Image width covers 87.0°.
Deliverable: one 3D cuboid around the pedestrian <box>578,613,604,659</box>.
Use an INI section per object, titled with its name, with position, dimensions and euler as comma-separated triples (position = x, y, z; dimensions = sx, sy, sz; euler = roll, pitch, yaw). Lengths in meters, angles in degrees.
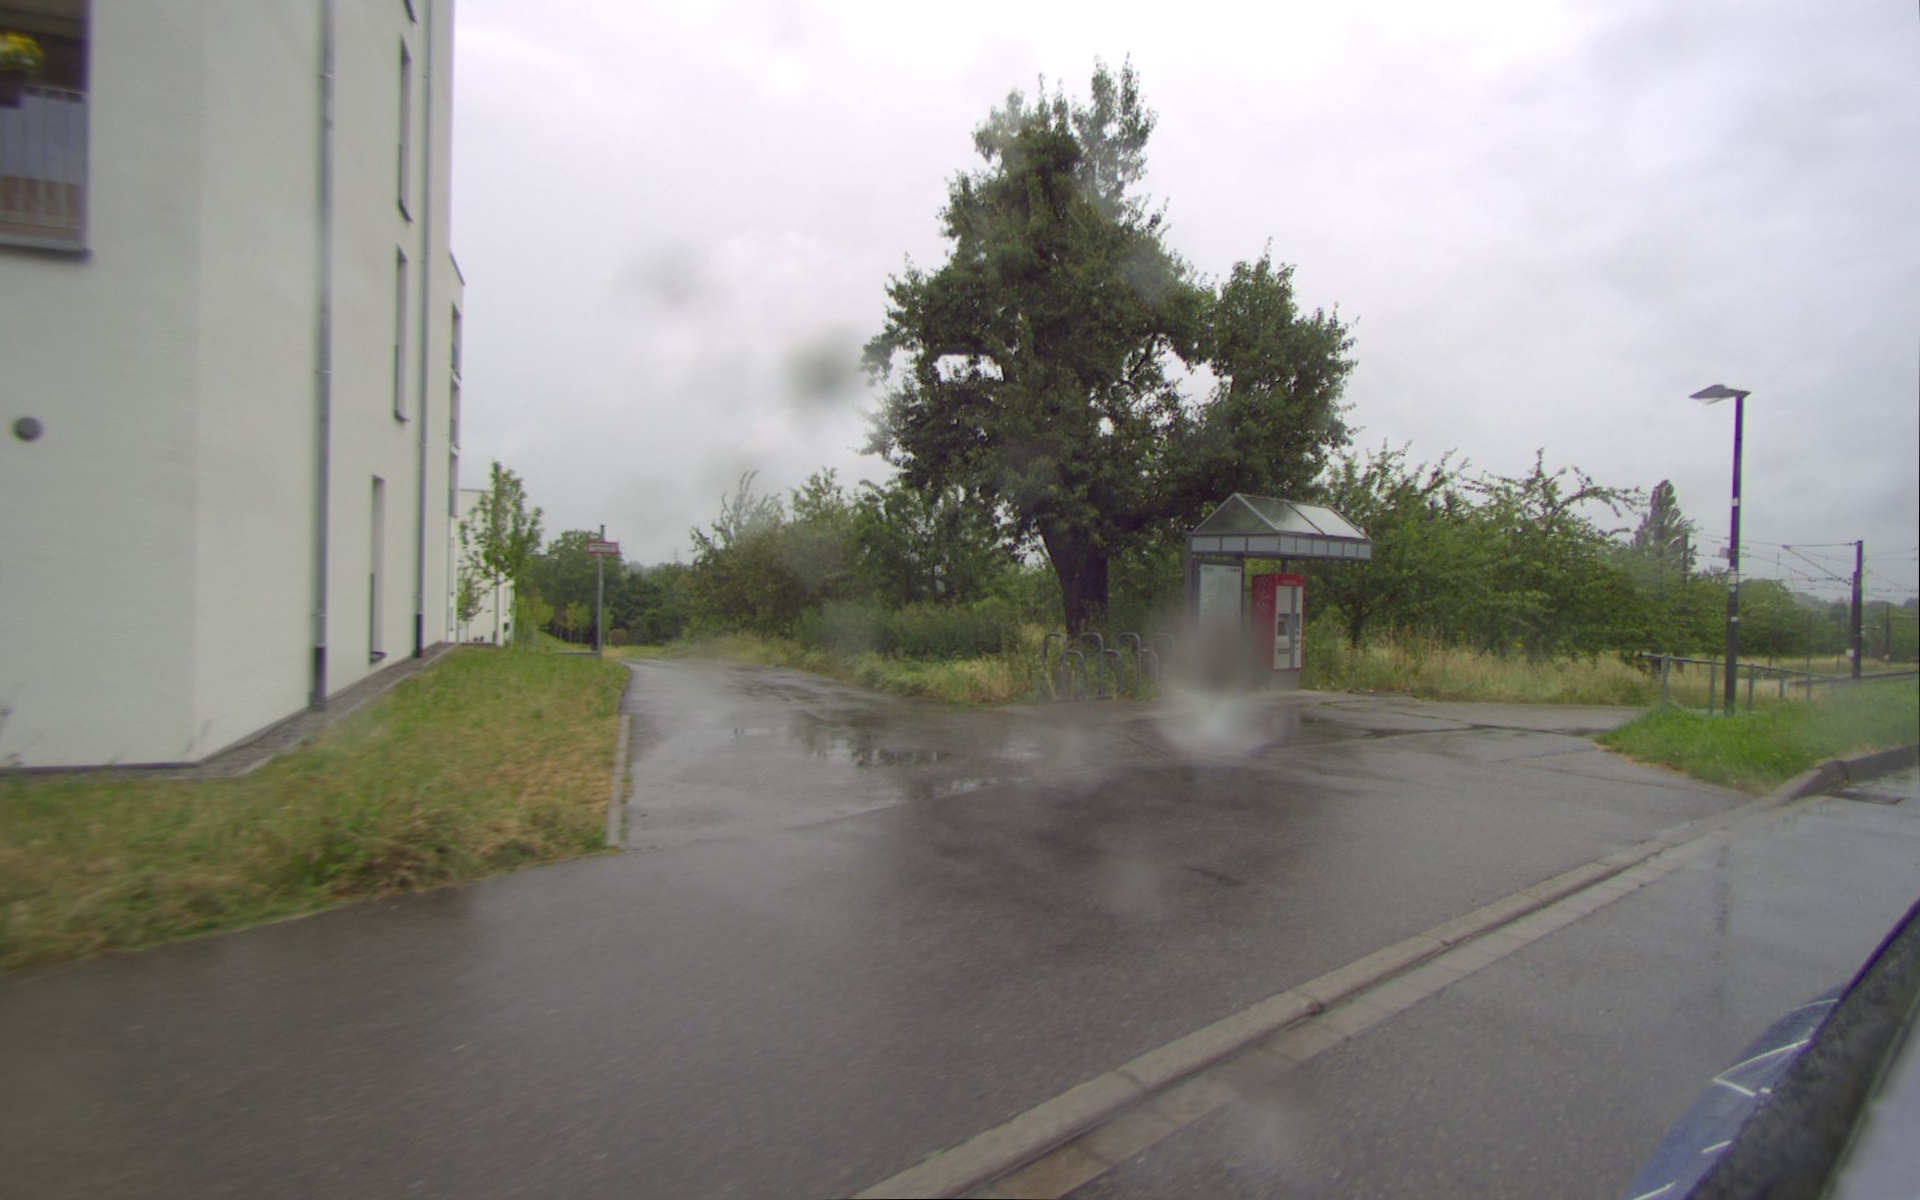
[pedestrian]
position = -14.947, 1.438, 41.034
dimensions = 0.875, 1.806, 0.891
euler = 2, -1, -24
